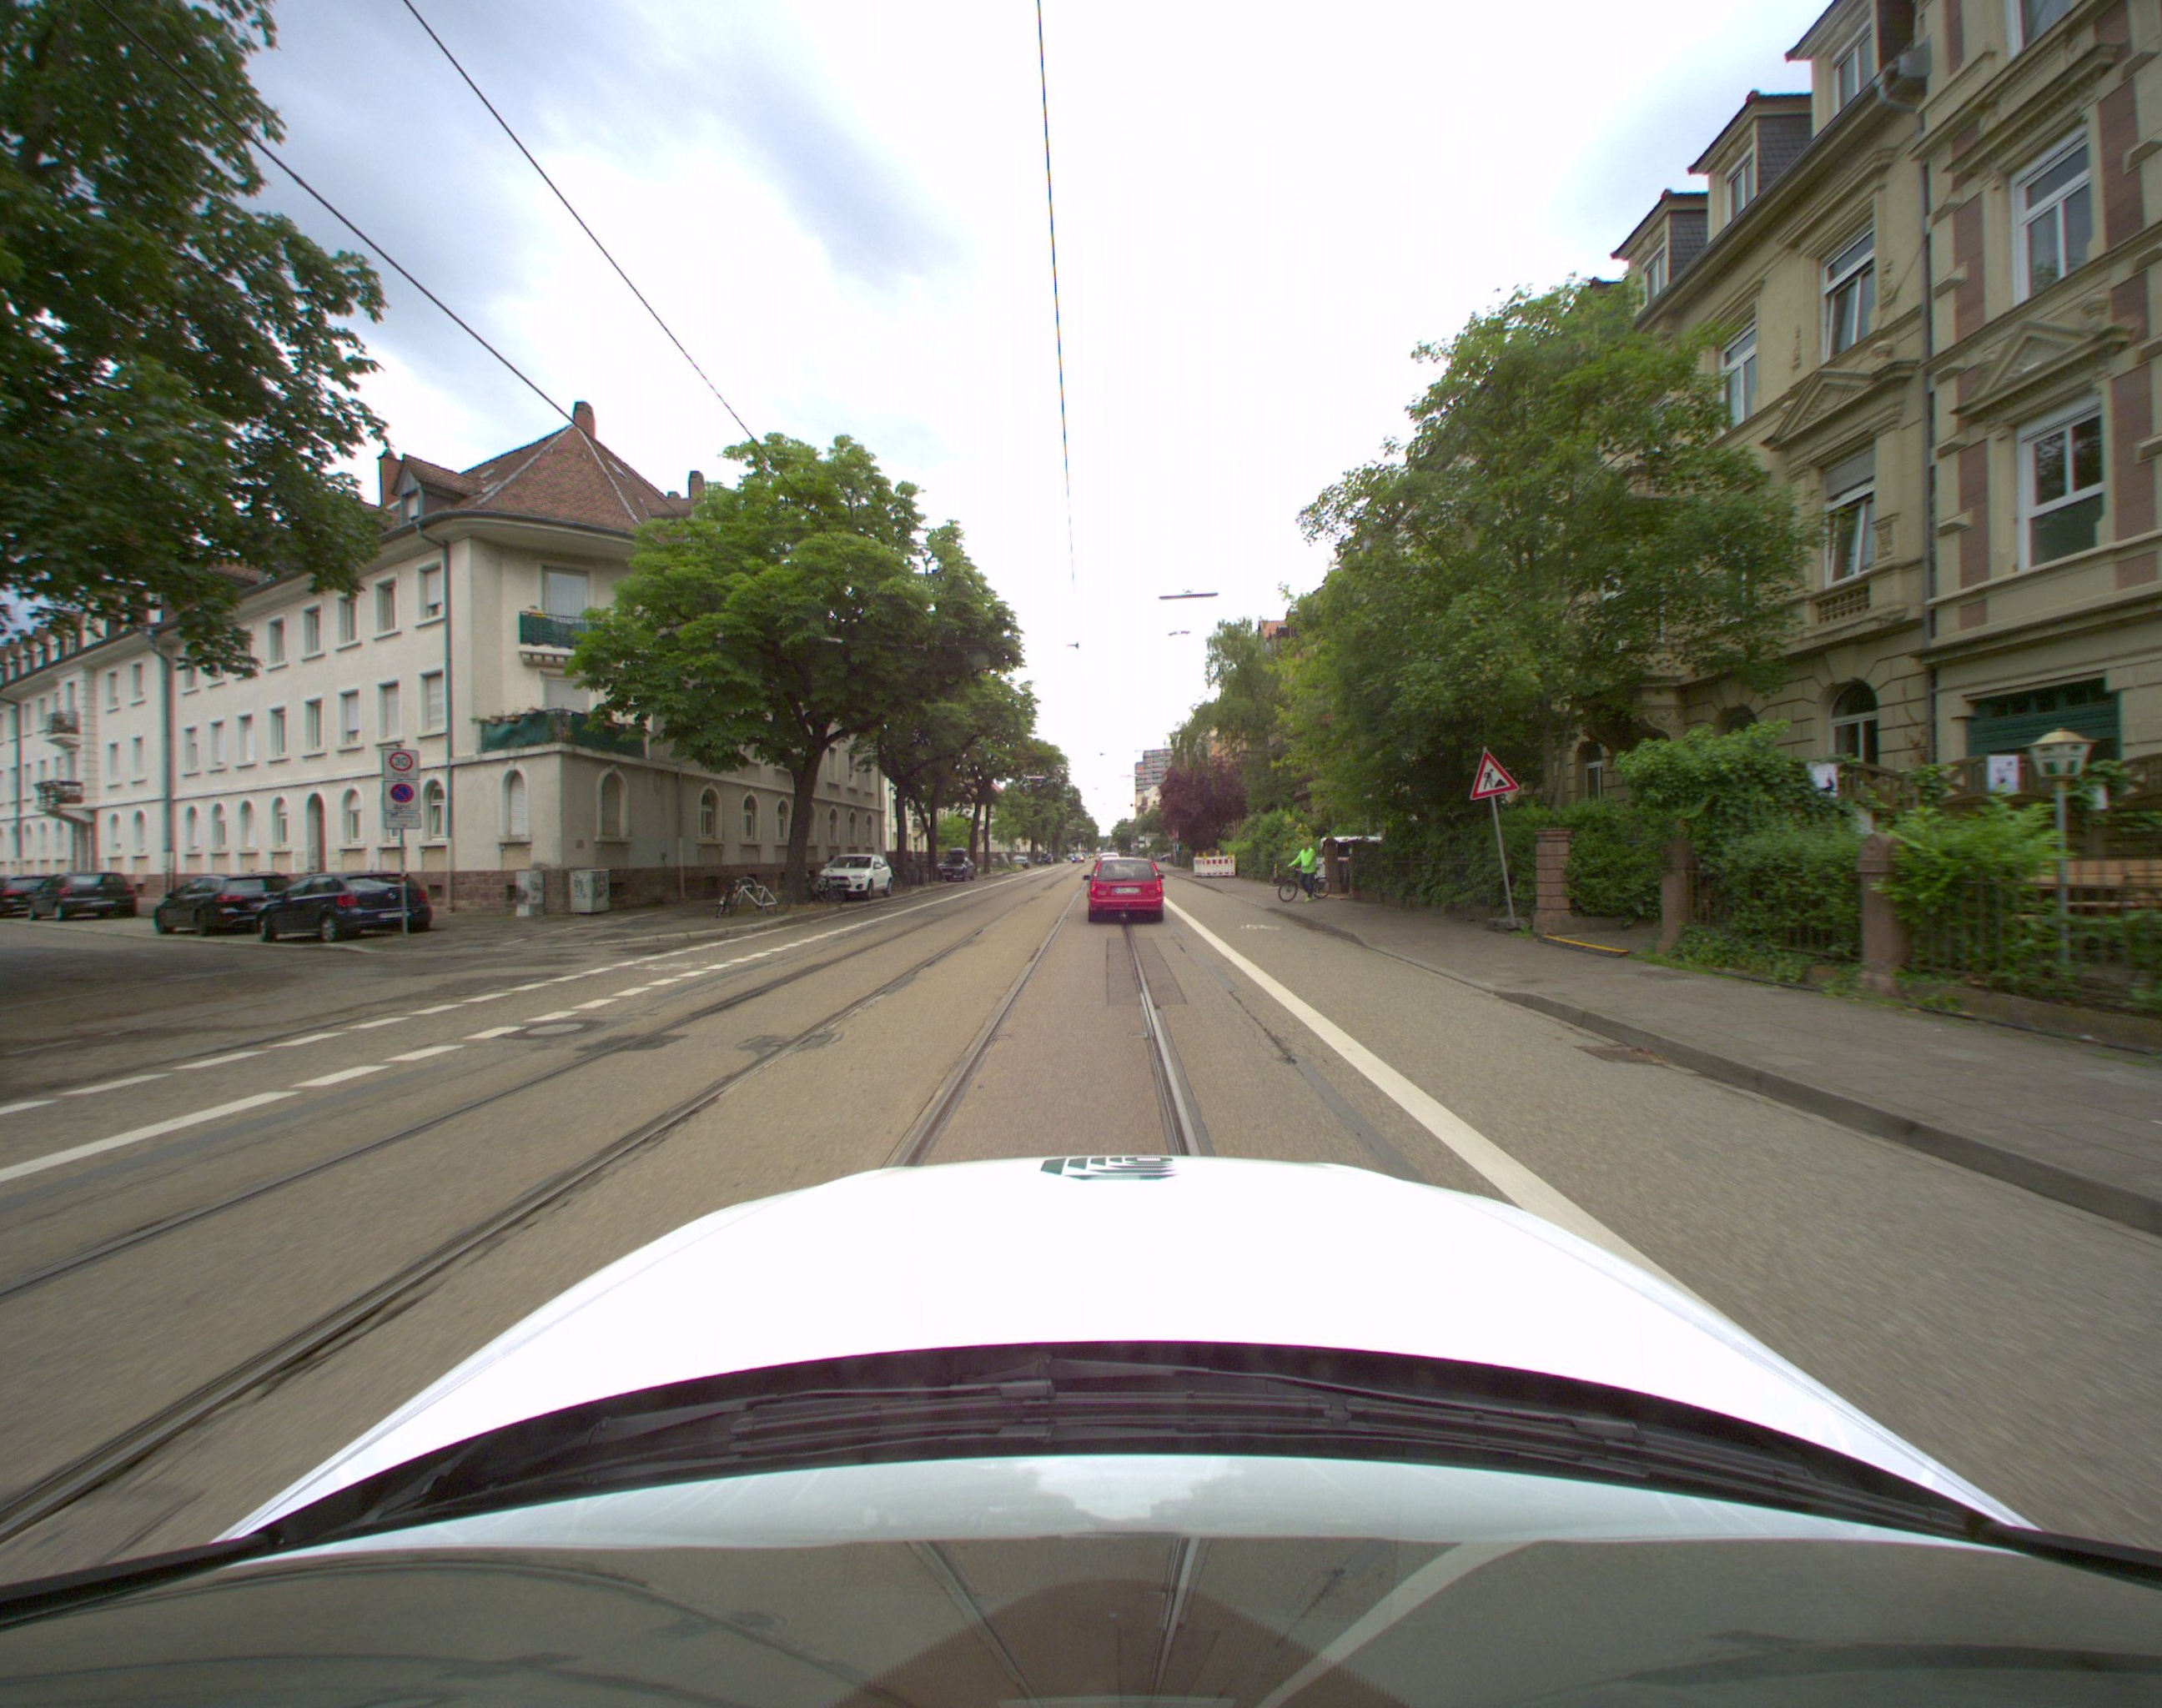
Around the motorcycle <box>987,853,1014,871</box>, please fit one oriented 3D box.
[{"bbox_3d":[-6.930,0.662,70.169,2.243,1.511,0.932,-1,-2,36],"label":"motorcycle"}]

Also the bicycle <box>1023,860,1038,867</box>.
[{"bbox_3d":[-6.188,1.219,100.472,1.742,0.844,0.684,-1,0,2],"label":"bicycle"}]

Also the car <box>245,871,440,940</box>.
[{"bbox_3d":[-15.850,1.052,17.476,3.715,1.307,1.751,-1,0,24],"label":"car"}]

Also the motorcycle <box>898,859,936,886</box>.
[{"bbox_3d":[-8.037,0.877,39.941,0.857,1.288,2.331,0,0,15],"label":"motorcycle"}]

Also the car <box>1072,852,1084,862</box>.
[{"bbox_3d":[-0.459,0.414,122.565,1.749,1.380,4.027,-1,0,1],"label":"car"}]

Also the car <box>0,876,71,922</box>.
[{"bbox_3d":[-37.295,1.546,28.748,3.948,1.474,1.551,-1,0,31],"label":"car"}]

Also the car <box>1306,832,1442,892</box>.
[{"bbox_3d":[9.912,0.278,27.766,3.972,1.858,1.810,-2,0,1],"label":"car"}]

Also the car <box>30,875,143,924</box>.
[{"bbox_3d":[-32.432,1.429,26.553,3.455,1.441,1.685,-1,0,28],"label":"car"}]

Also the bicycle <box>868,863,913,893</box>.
[{"bbox_3d":[-8.079,1.017,34.571,1.730,1.192,0.655,1,0,16],"label":"bicycle"}]

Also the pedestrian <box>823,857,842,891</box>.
[{"bbox_3d":[-10.799,0.853,35.404,0.562,1.467,0.723,-1,0,2],"label":"pedestrian"}]

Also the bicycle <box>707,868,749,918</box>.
[{"bbox_3d":[-9.005,0.961,20.831,0.676,1.136,1.927,-1,1,-15],"label":"bicycle"}]

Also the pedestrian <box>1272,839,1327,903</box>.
[{"bbox_3d":[6.314,0.489,23.624,1.224,1.732,1.018,-4,0,1],"label":"pedestrian"}]

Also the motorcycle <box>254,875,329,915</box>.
[{"bbox_3d":[-23.919,1.216,24.653,3.411,1.134,0.683,-1,0,30],"label":"motorcycle"}]

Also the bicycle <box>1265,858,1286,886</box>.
[{"bbox_3d":[7.675,0.704,32.167,0.477,1.045,1.532,-1,0,2],"label":"bicycle"}]

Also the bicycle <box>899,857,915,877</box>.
[{"bbox_3d":[-12.660,0.916,59.176,0.625,1.382,2.142,-1,0,2],"label":"bicycle"}]

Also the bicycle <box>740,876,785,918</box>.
[{"bbox_3d":[-7.968,1.062,20.398,0.481,0.958,1.399,-1,0,4],"label":"bicycle"}]

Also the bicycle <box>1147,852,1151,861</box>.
[{"bbox_3d":[10.591,0.329,126.300,0.549,1.400,1.735,-1,0,2],"label":"bicycle"}]

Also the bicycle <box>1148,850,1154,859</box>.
[{"bbox_3d":[10.332,0.086,119.874,0.705,1.300,1.905,-1,0,2],"label":"bicycle"}]

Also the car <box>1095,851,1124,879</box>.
[{"bbox_3d":[1.814,0.658,50.828,1.711,1.624,3.945,-1,0,4],"label":"car"}]

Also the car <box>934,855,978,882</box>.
[{"bbox_3d":[-7.379,0.851,48.412,1.770,1.511,4.240,0,0,3],"label":"car"}]

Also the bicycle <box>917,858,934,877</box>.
[{"bbox_3d":[-11.388,0.979,59.664,0.789,1.382,2.142,-1,0,2],"label":"bicycle"}]

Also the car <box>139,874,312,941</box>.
[{"bbox_3d":[-21.116,1.254,20.102,3.897,1.464,1.716,-1,0,24],"label":"car"}]

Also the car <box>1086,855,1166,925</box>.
[{"bbox_3d":[1.007,0.763,18.970,1.683,1.441,3.744,0,0,2],"label":"car"}]

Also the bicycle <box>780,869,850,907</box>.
[{"bbox_3d":[-8.223,1.049,25.212,1.915,1.121,0.624,1,0,1],"label":"bicycle"}]

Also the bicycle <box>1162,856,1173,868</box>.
[{"bbox_3d":[11.282,1.063,106.360,0.910,1.507,2.392,-1,0,19],"label":"bicycle"}]

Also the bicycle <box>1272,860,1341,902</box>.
[{"bbox_3d":[6.680,0.790,24.167,1.835,1.076,0.606,-5,0,0],"label":"bicycle"}]

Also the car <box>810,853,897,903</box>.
[{"bbox_3d":[-8.091,0.786,29.343,1.890,1.655,4.225,0,0,1],"label":"car"}]

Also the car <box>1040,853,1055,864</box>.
[{"bbox_3d":[-4.689,0.624,115.242,1.844,1.563,3.944,-1,0,2],"label":"car"}]
